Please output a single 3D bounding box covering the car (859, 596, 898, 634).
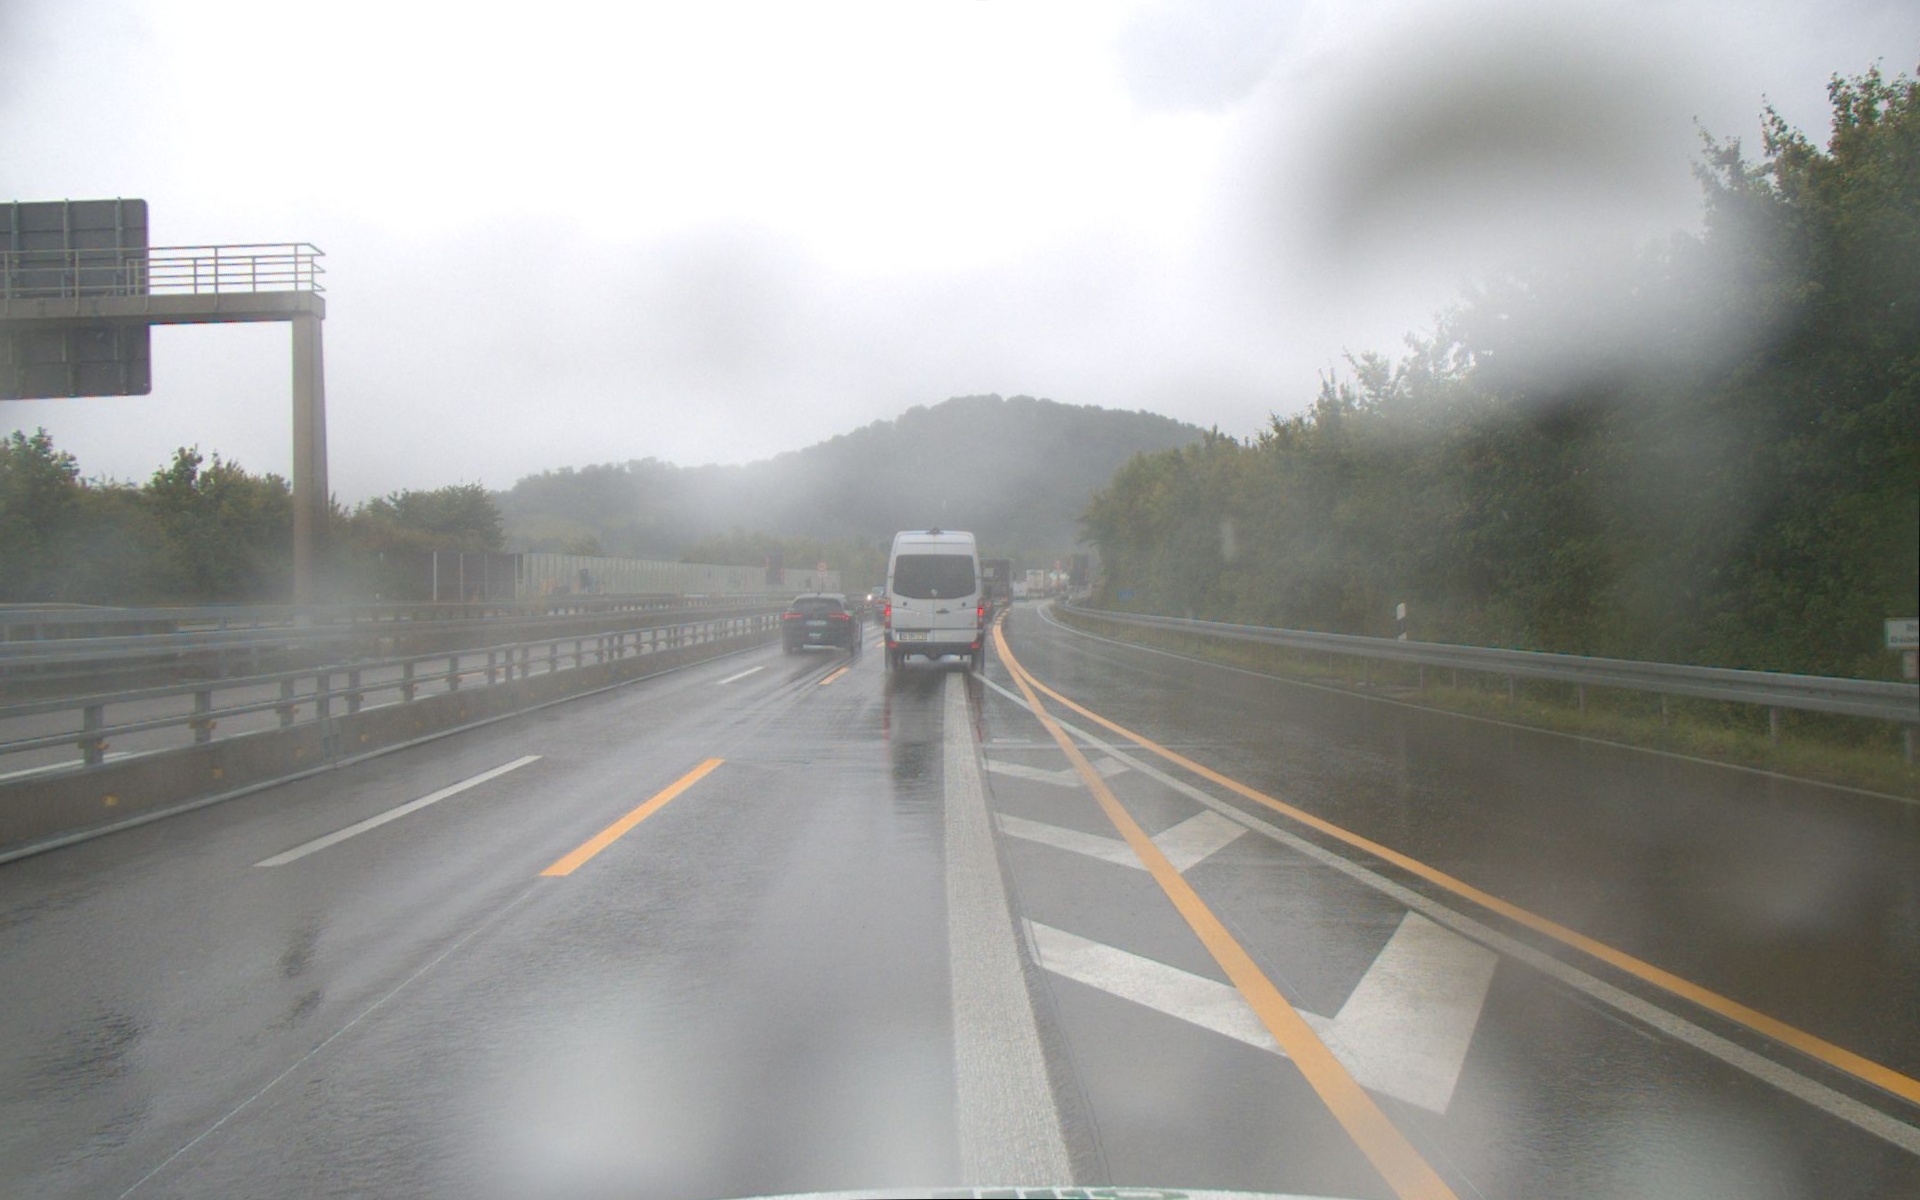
[{"bbox_3d":[-3.654,0.653,74.687,1.672,1.656,3.998,1,0,-2],"label":"car"}]

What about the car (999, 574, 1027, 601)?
[{"bbox_3d":[6.059,-1.417,188.240,2.837,2.938,6.415,1,0,6],"label":"car"}]

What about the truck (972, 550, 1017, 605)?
[{"bbox_3d":[3.005,-1.852,140.874,3.506,4.483,9.627,1,0,3],"label":"truck"}]

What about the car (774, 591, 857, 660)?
[{"bbox_3d":[-3.528,0.602,40.823,1.908,1.588,3.997,1,0,-4],"label":"car"}]

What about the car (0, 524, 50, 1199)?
[{"bbox_3d":[-3.152,0.637,1.565,1.953,1.645,4.795,1,0,-1],"label":"car"}]

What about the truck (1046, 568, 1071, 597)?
[{"bbox_3d":[15.552,-2.734,260.180,2.836,4.483,9.632,1,0,9],"label":"truck"}]

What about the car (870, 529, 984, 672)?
[{"bbox_3d":[-0.598,0.006,33.382,2.101,2.616,5.389,1,0,0],"label":"car"}]

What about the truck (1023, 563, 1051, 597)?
[{"bbox_3d":[10.621,-2.748,226.268,2.971,4.483,9.631,1,0,7],"label":"truck"}]

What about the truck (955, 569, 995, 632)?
[{"bbox_3d":[0.795,0.021,87.172,1.952,3.163,8.499,1,0,1],"label":"truck"}]
